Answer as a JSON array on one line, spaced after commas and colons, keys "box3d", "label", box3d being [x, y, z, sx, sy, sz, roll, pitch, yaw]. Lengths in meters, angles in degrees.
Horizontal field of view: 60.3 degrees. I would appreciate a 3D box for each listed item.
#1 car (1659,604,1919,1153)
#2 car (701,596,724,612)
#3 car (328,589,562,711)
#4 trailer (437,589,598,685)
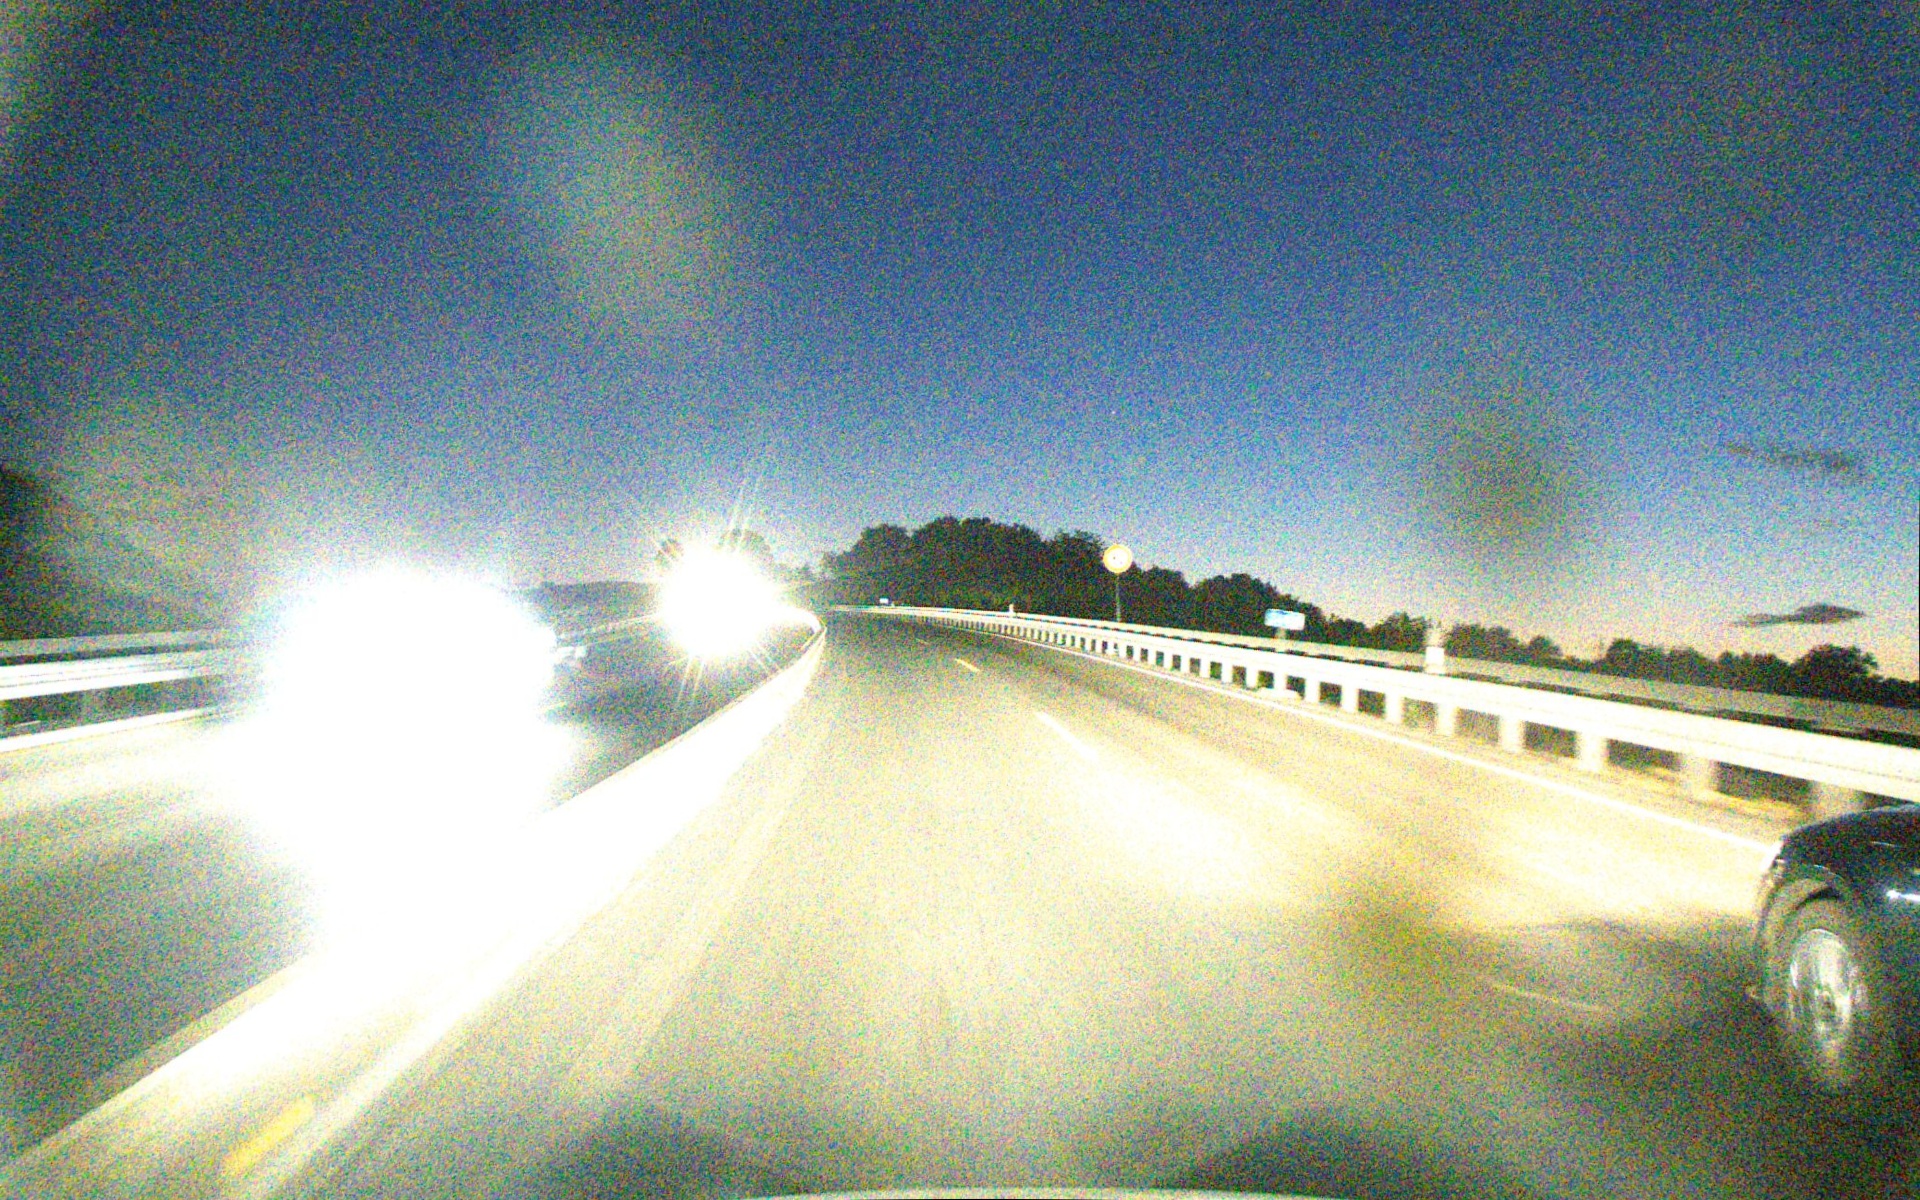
[{"box3d": [3.496, 0.763, 3.575, 1.771, 1.451, 4.873, -1, 1, -2], "label": "car"}, {"box3d": [-25.004, 0.399, 167.109, 1.788, 1.542, 4.505, 0, -1, -15], "label": "car"}, {"box3d": [-6.852, 0.584, 22.589, 1.874, 1.451, 4.949, -1, 1, -3], "label": "car"}, {"box3d": [-7.076, 0.552, 26.760, 1.846, 1.451, 3.349, 0, 0, -3], "label": "trailer"}]
